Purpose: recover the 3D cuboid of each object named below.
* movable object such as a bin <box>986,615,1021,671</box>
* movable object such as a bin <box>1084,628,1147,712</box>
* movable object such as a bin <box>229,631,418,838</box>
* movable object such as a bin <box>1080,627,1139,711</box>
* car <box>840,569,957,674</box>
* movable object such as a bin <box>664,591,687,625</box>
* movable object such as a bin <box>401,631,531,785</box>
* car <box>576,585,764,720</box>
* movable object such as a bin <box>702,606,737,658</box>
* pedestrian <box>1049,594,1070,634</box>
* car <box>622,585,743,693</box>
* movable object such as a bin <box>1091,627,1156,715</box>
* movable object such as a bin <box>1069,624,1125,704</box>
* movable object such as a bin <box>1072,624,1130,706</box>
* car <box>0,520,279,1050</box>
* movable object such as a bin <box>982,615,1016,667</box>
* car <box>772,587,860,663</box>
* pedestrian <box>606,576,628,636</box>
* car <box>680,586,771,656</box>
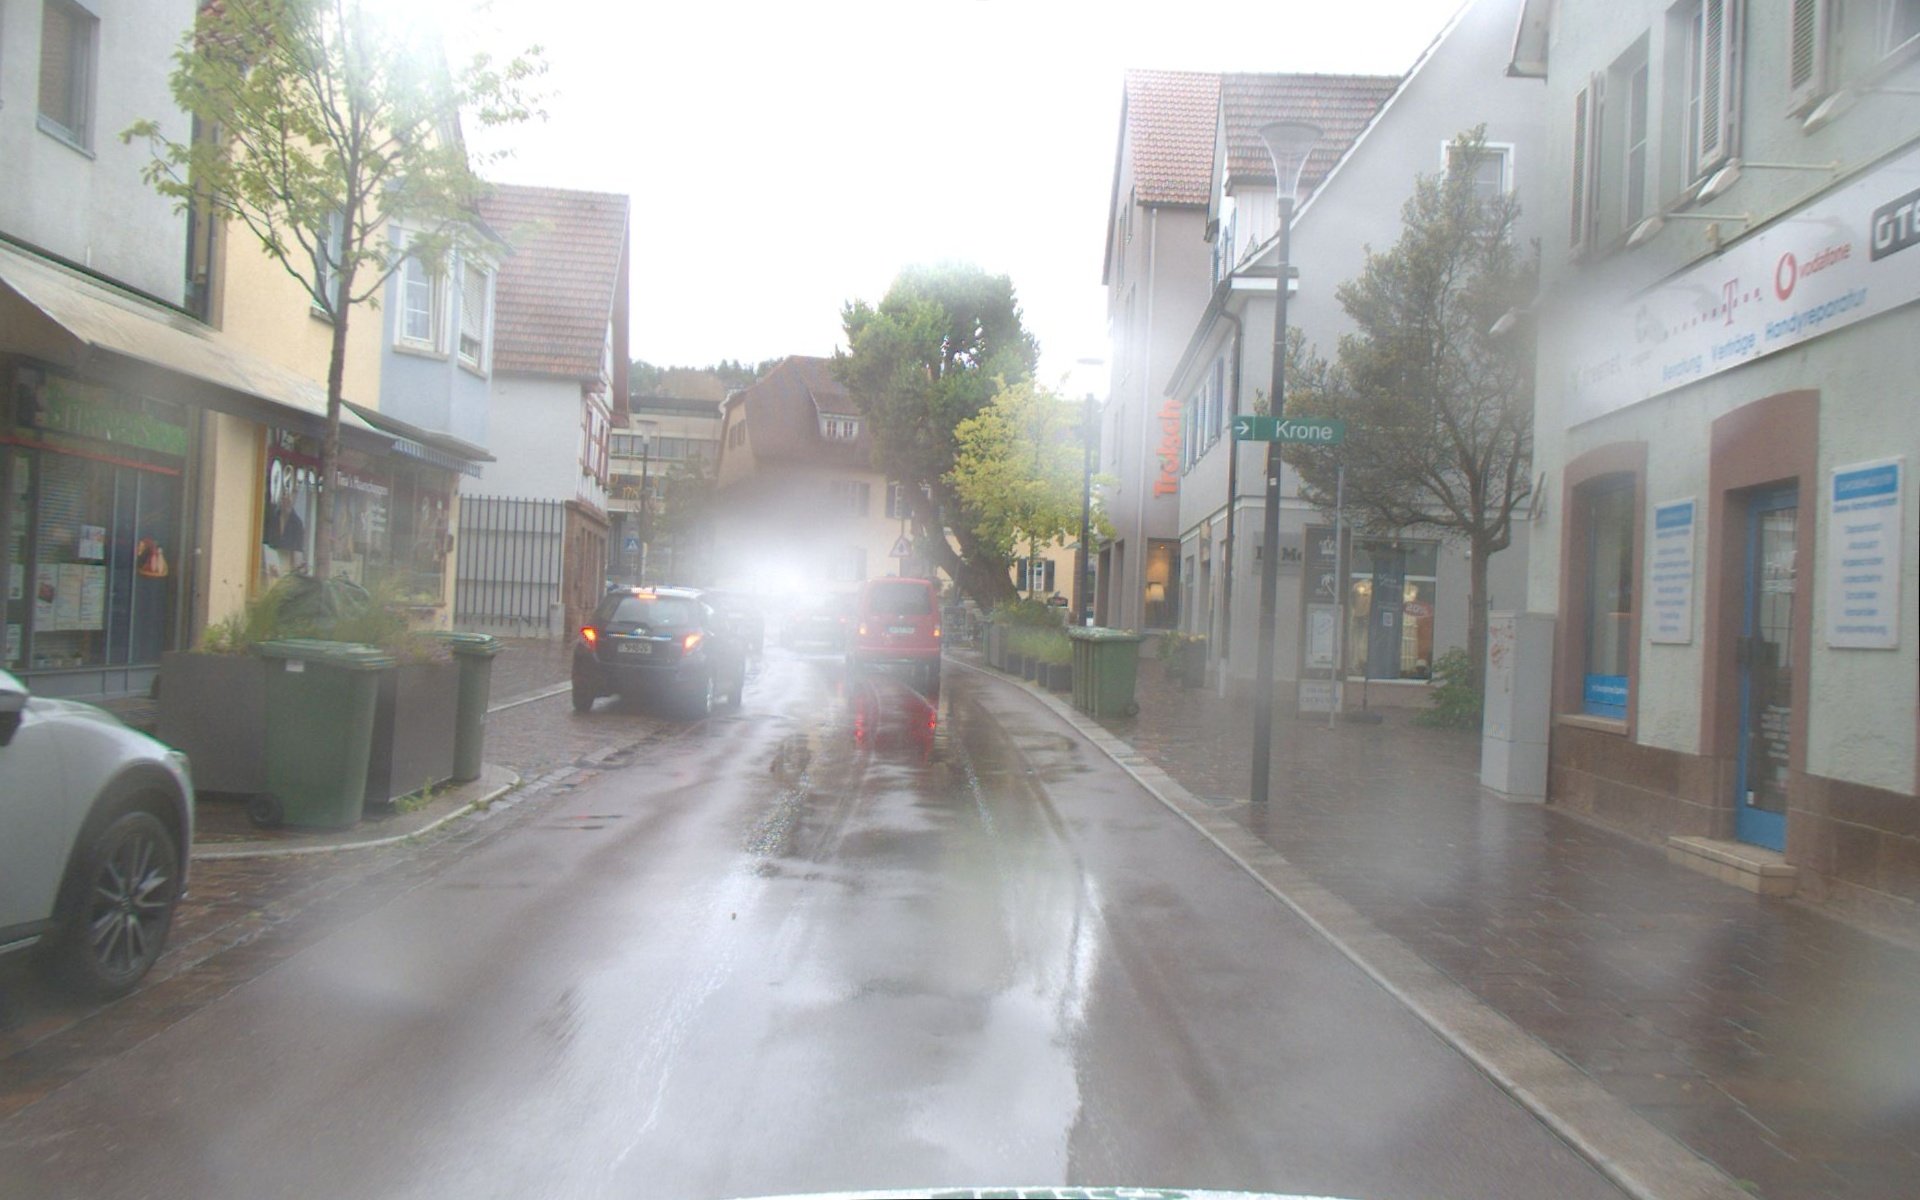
[{"bbox_3d":[0.951,0.942,36.075,0.620,1.170,0.578,3,-2,-9],"label":"movable object such as a bin"},{"bbox_3d":[2.107,0.950,22.439,0.739,1.082,0.600,3,-2,0],"label":"movable object such as a bin"},{"bbox_3d":[-3.737,0.774,9.753,0.770,1.103,0.693,4,1,1],"label":"movable object such as a bin"},{"bbox_3d":[2.079,0.958,23.008,0.714,1.110,0.521,3,-2,0],"label":"movable object such as a bin"},{"bbox_3d":[-1.303,0.379,33.303,1.859,1.842,3.993,4,1,-8],"label":"car"},{"bbox_3d":[-9.730,0.285,56.512,0.701,1.125,0.598,3,-2,-11],"label":"movable object such as a bin"},{"bbox_3d":[-3.673,0.792,12.340,0.695,1.071,0.704,3,-2,0],"label":"movable object such as a bin"},{"bbox_3d":[-3.610,0.591,21.206,1.657,1.468,3.884,3,1,0],"label":"car"},{"bbox_3d":[-5.426,0.723,37.291,0.712,1.129,0.595,3,-2,-9],"label":"movable object such as a bin"},{"bbox_3d":[4.841,0.676,80.484,0.880,1.874,0.766,3,-2,-3],"label":"pedestrian"},{"bbox_3d":[-4.469,0.577,27.017,1.724,1.499,3.937,3,1,-8],"label":"car"},{"bbox_3d":[2.149,0.935,21.804,0.752,1.098,0.599,3,-2,0],"label":"movable object such as a bin"},{"bbox_3d":[1.999,0.930,24.228,0.720,1.117,0.611,3,-2,-1],"label":"movable object such as a bin"},{"bbox_3d":[2.004,0.918,23.624,0.720,1.117,0.611,3,-1,-1],"label":"movable object such as a bin"},{"bbox_3d":[-3.685,0.511,4.634,1.658,1.564,4.121,6,1,1],"label":"car"},{"bbox_3d":[0.857,0.905,36.681,0.620,1.123,0.578,3,-2,-9],"label":"movable object such as a bin"},{"bbox_3d":[-3.915,0.676,44.365,1.957,1.831,3.991,3,-2,-9],"label":"car"},{"bbox_3d":[-10.246,0.185,49.395,0.508,1.741,0.577,3,-2,-8],"label":"pedestrian"},{"bbox_3d":[-5.899,0.490,41.260,1.758,1.521,3.986,4,0,-14],"label":"car"}]
